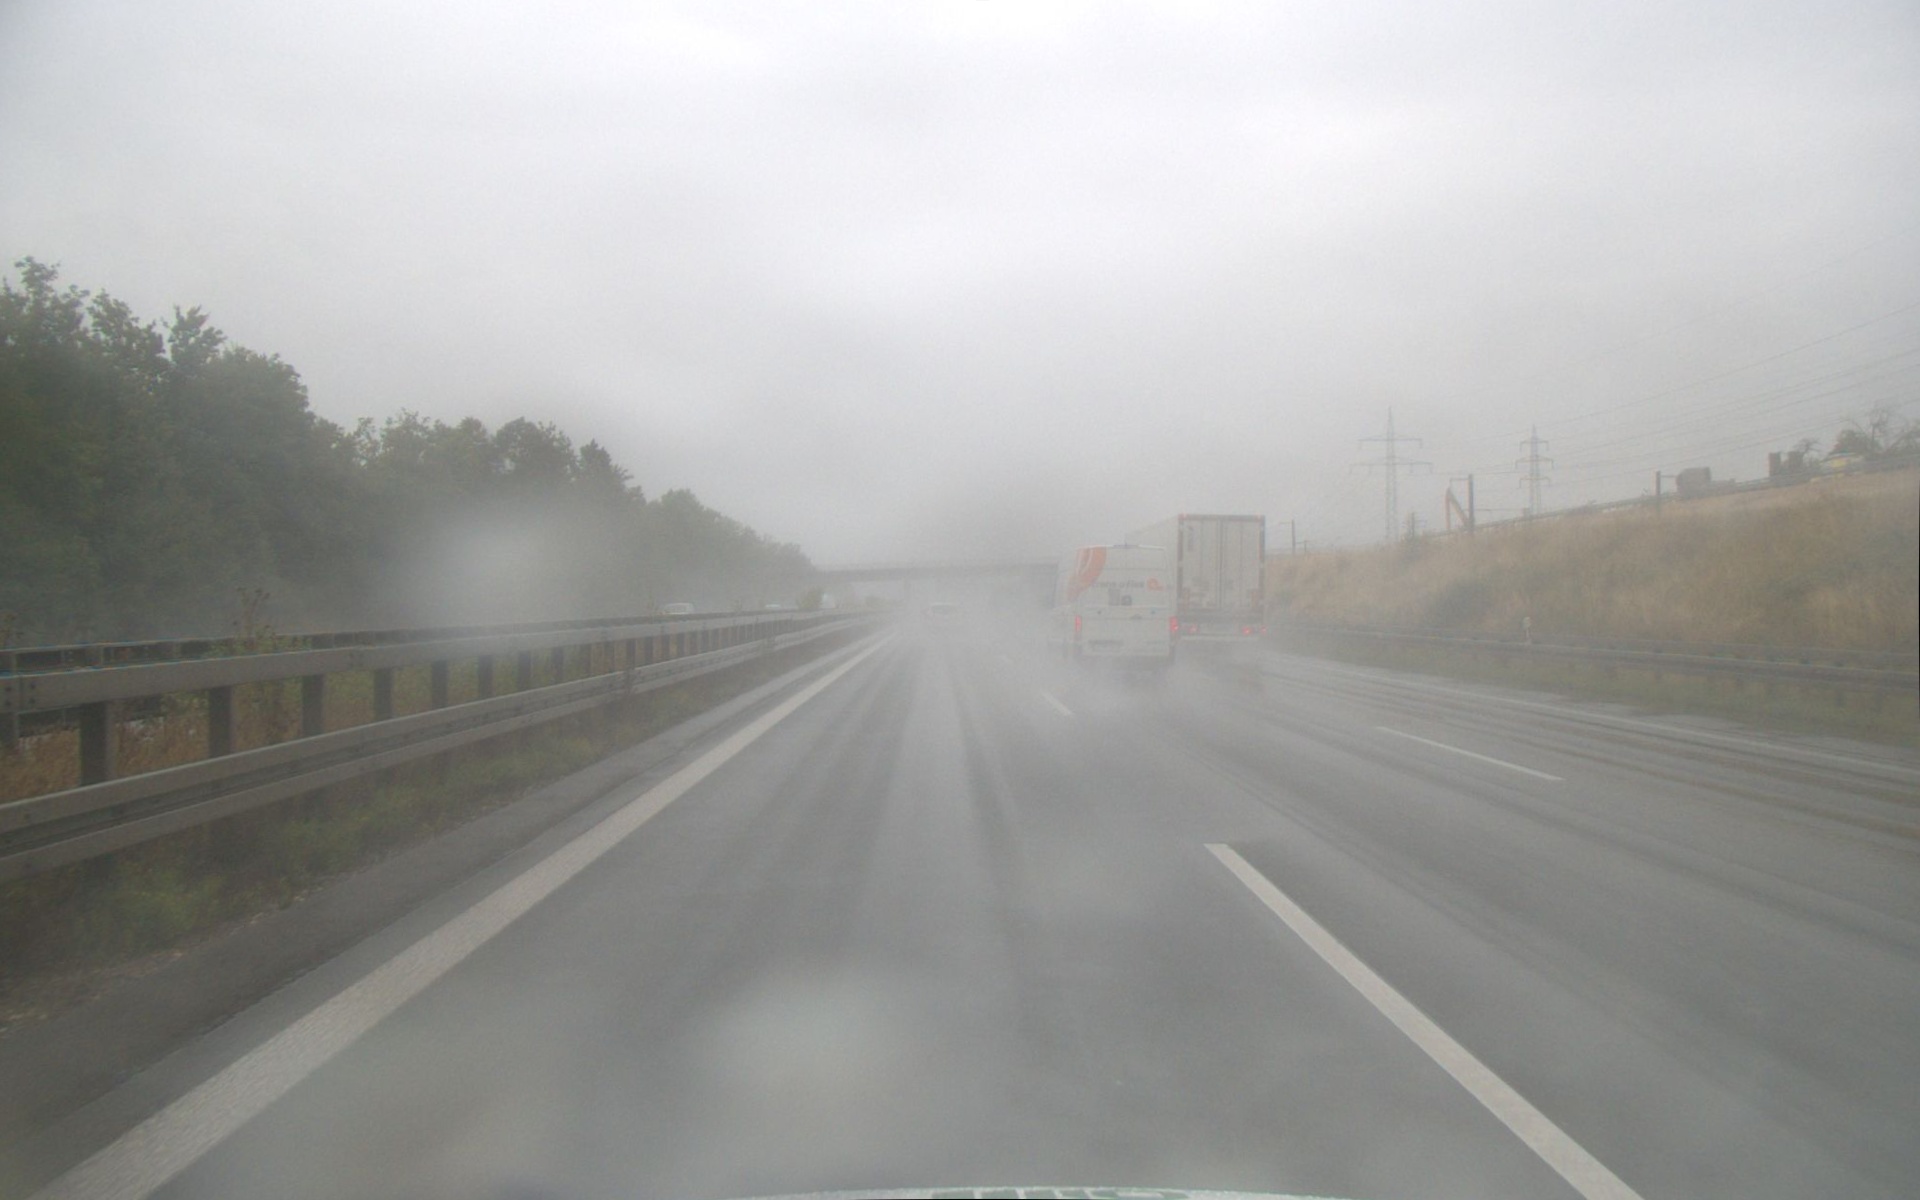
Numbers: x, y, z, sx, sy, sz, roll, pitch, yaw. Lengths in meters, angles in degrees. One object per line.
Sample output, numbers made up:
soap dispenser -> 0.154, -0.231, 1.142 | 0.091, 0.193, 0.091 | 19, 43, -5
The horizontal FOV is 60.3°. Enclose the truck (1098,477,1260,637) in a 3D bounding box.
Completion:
truck -> 7.153, -1.276, 57.109 | 2.978, 4.668, 16.345 | 1, 0, -1

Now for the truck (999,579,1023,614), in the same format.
truck -> 5.385, -0.420, 174.641 | 2.066, 3.577, 5.246 | 1, 1, -2

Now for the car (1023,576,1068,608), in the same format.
car -> 5.844, -0.580, 113.858 | 2.731, 2.049, 4.992 | 1, 1, -1

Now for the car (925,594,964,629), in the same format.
car -> -0.668, 0.478, 70.496 | 1.573, 1.361, 3.848 | 1, 1, -1

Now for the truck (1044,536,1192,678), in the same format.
truck -> 3.005, 0.084, 32.790 | 2.370, 2.536, 5.560 | 1, 1, 0
